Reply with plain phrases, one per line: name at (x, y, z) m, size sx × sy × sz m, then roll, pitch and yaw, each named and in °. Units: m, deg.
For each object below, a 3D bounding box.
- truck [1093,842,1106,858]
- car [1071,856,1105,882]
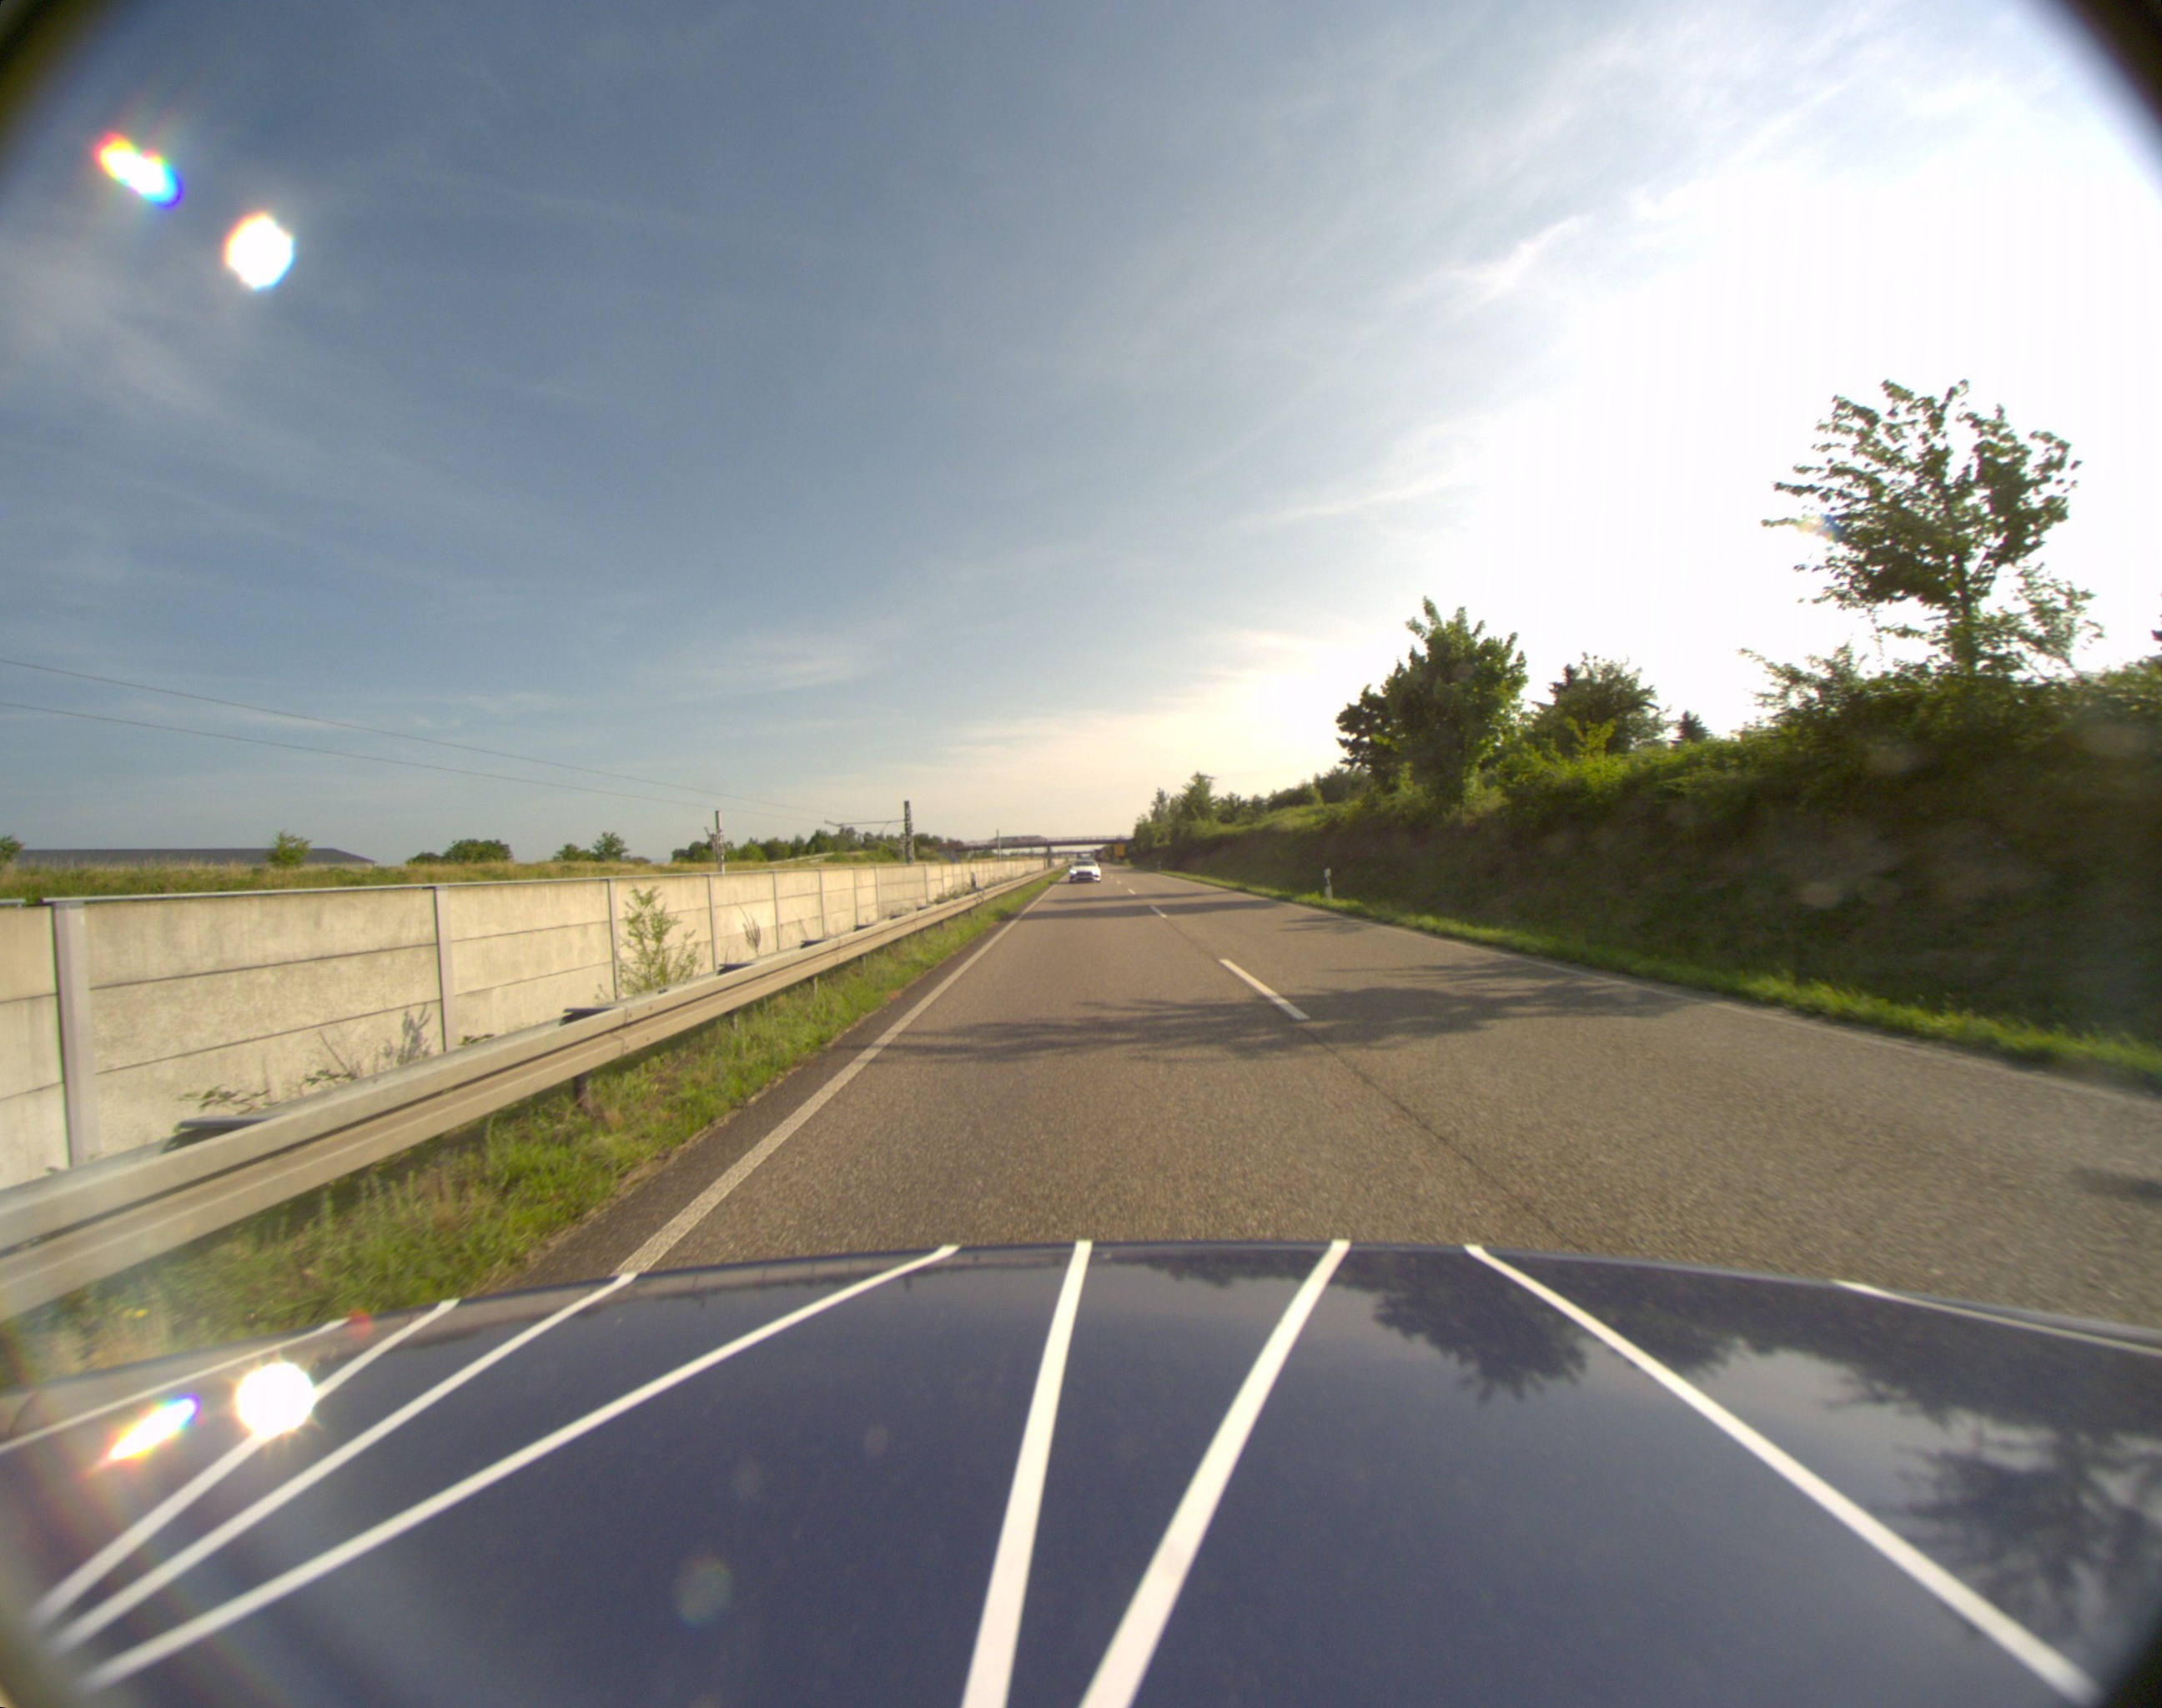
truck at (5.586, -1.259, 237.324) m, size 3.792 × 4.617 × 19.838 m, roll -2°, pitch 0°, yaw 1°
car at (0.418, 0.901, 47.279) m, size 1.953 × 1.430 × 4.612 m, roll -2°, pitch 0°, yaw 1°
